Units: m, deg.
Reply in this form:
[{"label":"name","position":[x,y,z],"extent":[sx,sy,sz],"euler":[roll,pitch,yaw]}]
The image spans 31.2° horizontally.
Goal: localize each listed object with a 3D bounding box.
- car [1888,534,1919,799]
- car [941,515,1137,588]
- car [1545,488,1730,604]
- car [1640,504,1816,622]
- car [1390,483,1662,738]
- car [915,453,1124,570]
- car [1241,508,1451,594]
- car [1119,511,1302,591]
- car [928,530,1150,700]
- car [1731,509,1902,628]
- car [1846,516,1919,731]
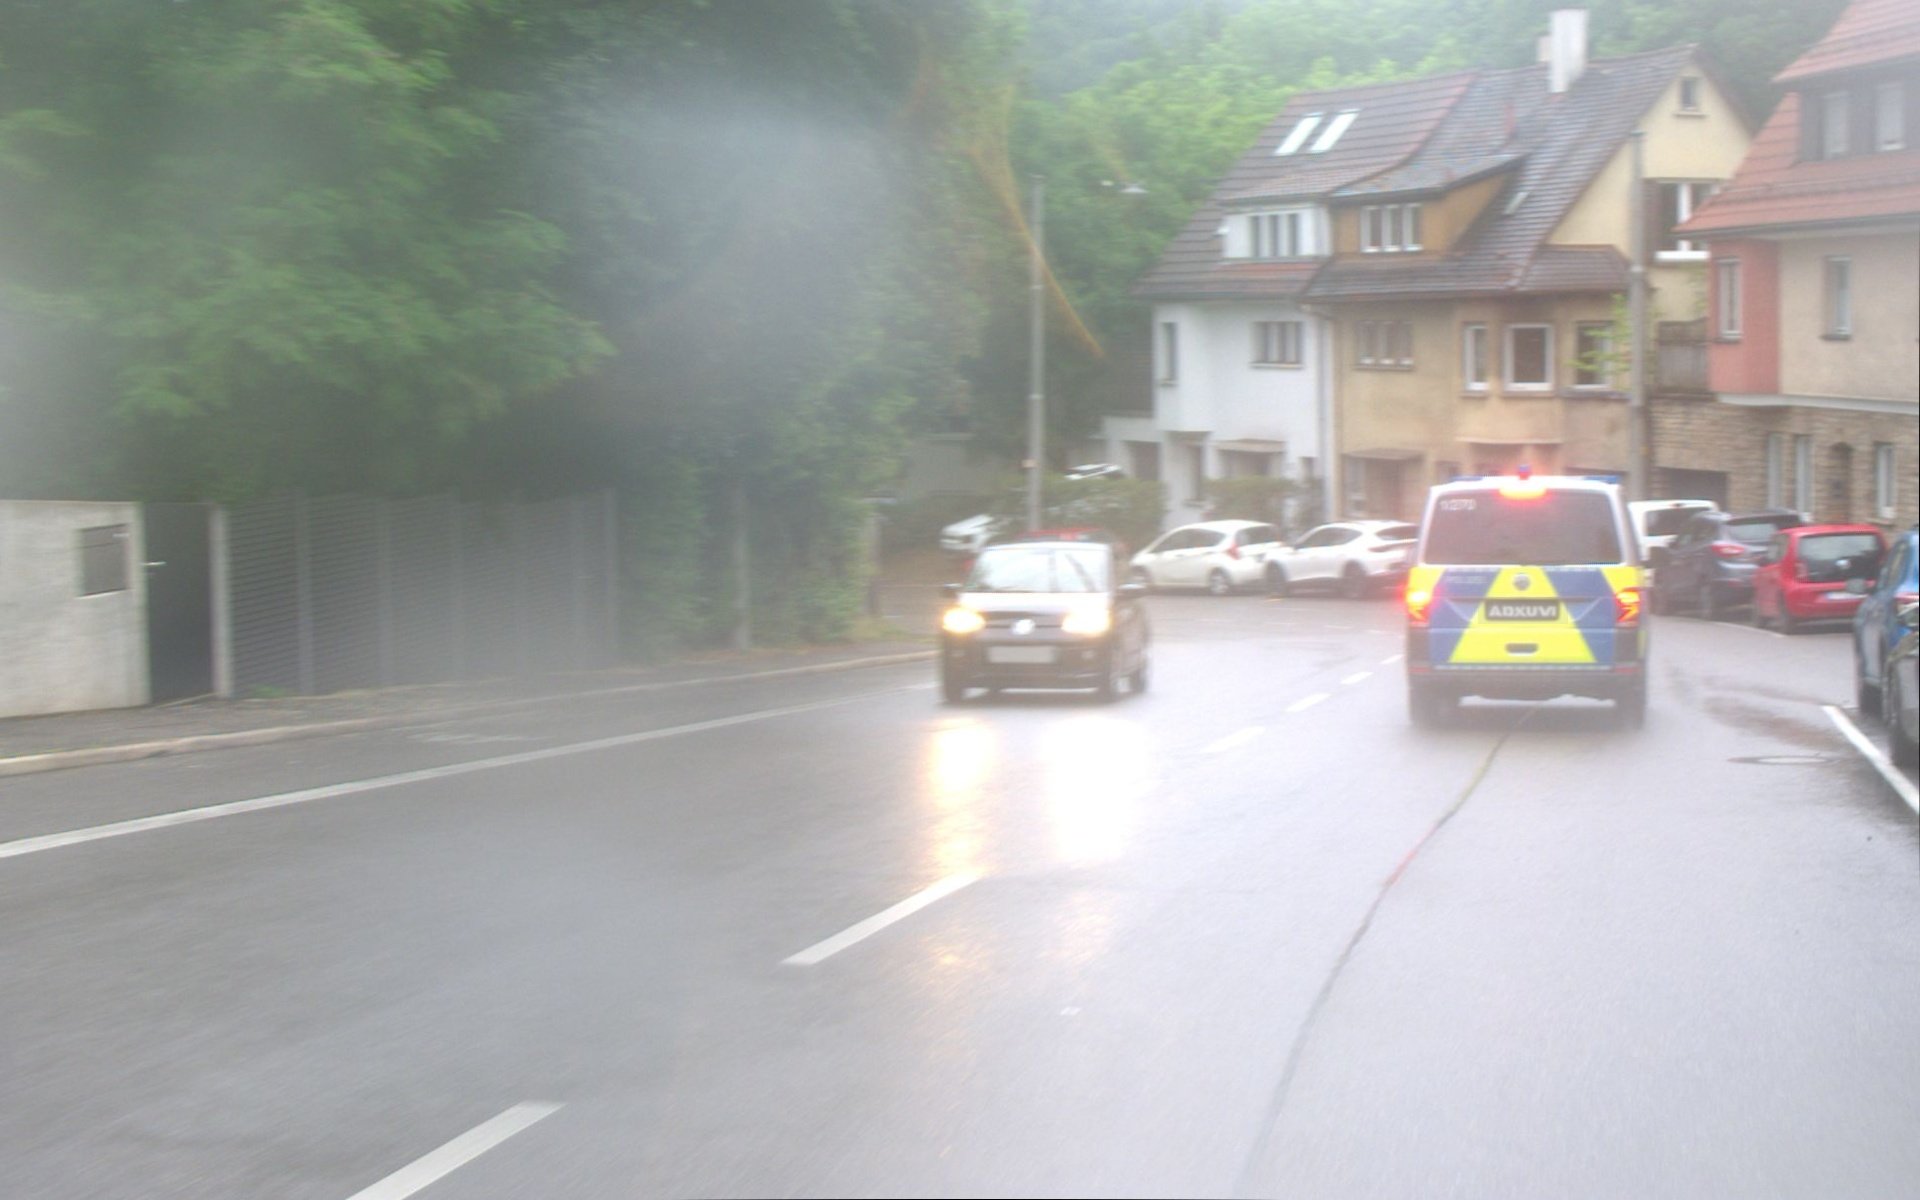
[{"label":"car","position":[6.697,0.335,21.418],"extent":[1.690,1.450,4.251],"euler":[0,2,14]},{"label":"car","position":[1.752,-1.077,77.026],"extent":[4.192,1.362,1.782],"euler":[-2,3,43]},{"label":"car","position":[11.581,-0.967,59.054],"extent":[1.705,1.784,4.327],"euler":[-4,2,-7]},{"label":"car","position":[11.986,-0.619,53.891],"extent":[1.615,1.599,4.412],"euler":[-4,2,-1]},{"label":"car","position":[4.716,0.068,28.426],"extent":[1.994,1.887,4.568],"euler":[-2,0,10]},{"label":"car","position":[1.448,-2.173,83.445],"extent":[4.396,1.835,2.001],"euler":[-14,8,-17]},{"label":"car","position":[7.704,-0.964,69.035],"extent":[1.914,1.533,4.415],"euler":[-5,3,-29]},{"label":"car","position":[5.300,-1.025,73.069],"extent":[1.765,1.509,3.822],"euler":[-6,3,-35]},{"label":"car","position":[0.801,0.090,32.301],"extent":[1.649,1.415,3.802],"euler":[2,2,7]},{"label":"car","position":[12.087,-0.472,48.689],"extent":[1.615,1.430,3.581],"euler":[-4,2,3]},{"label":"car","position":[8.232,0.128,27.910],"extent":[1.734,1.588,4.252],"euler":[0,2,11]}]
